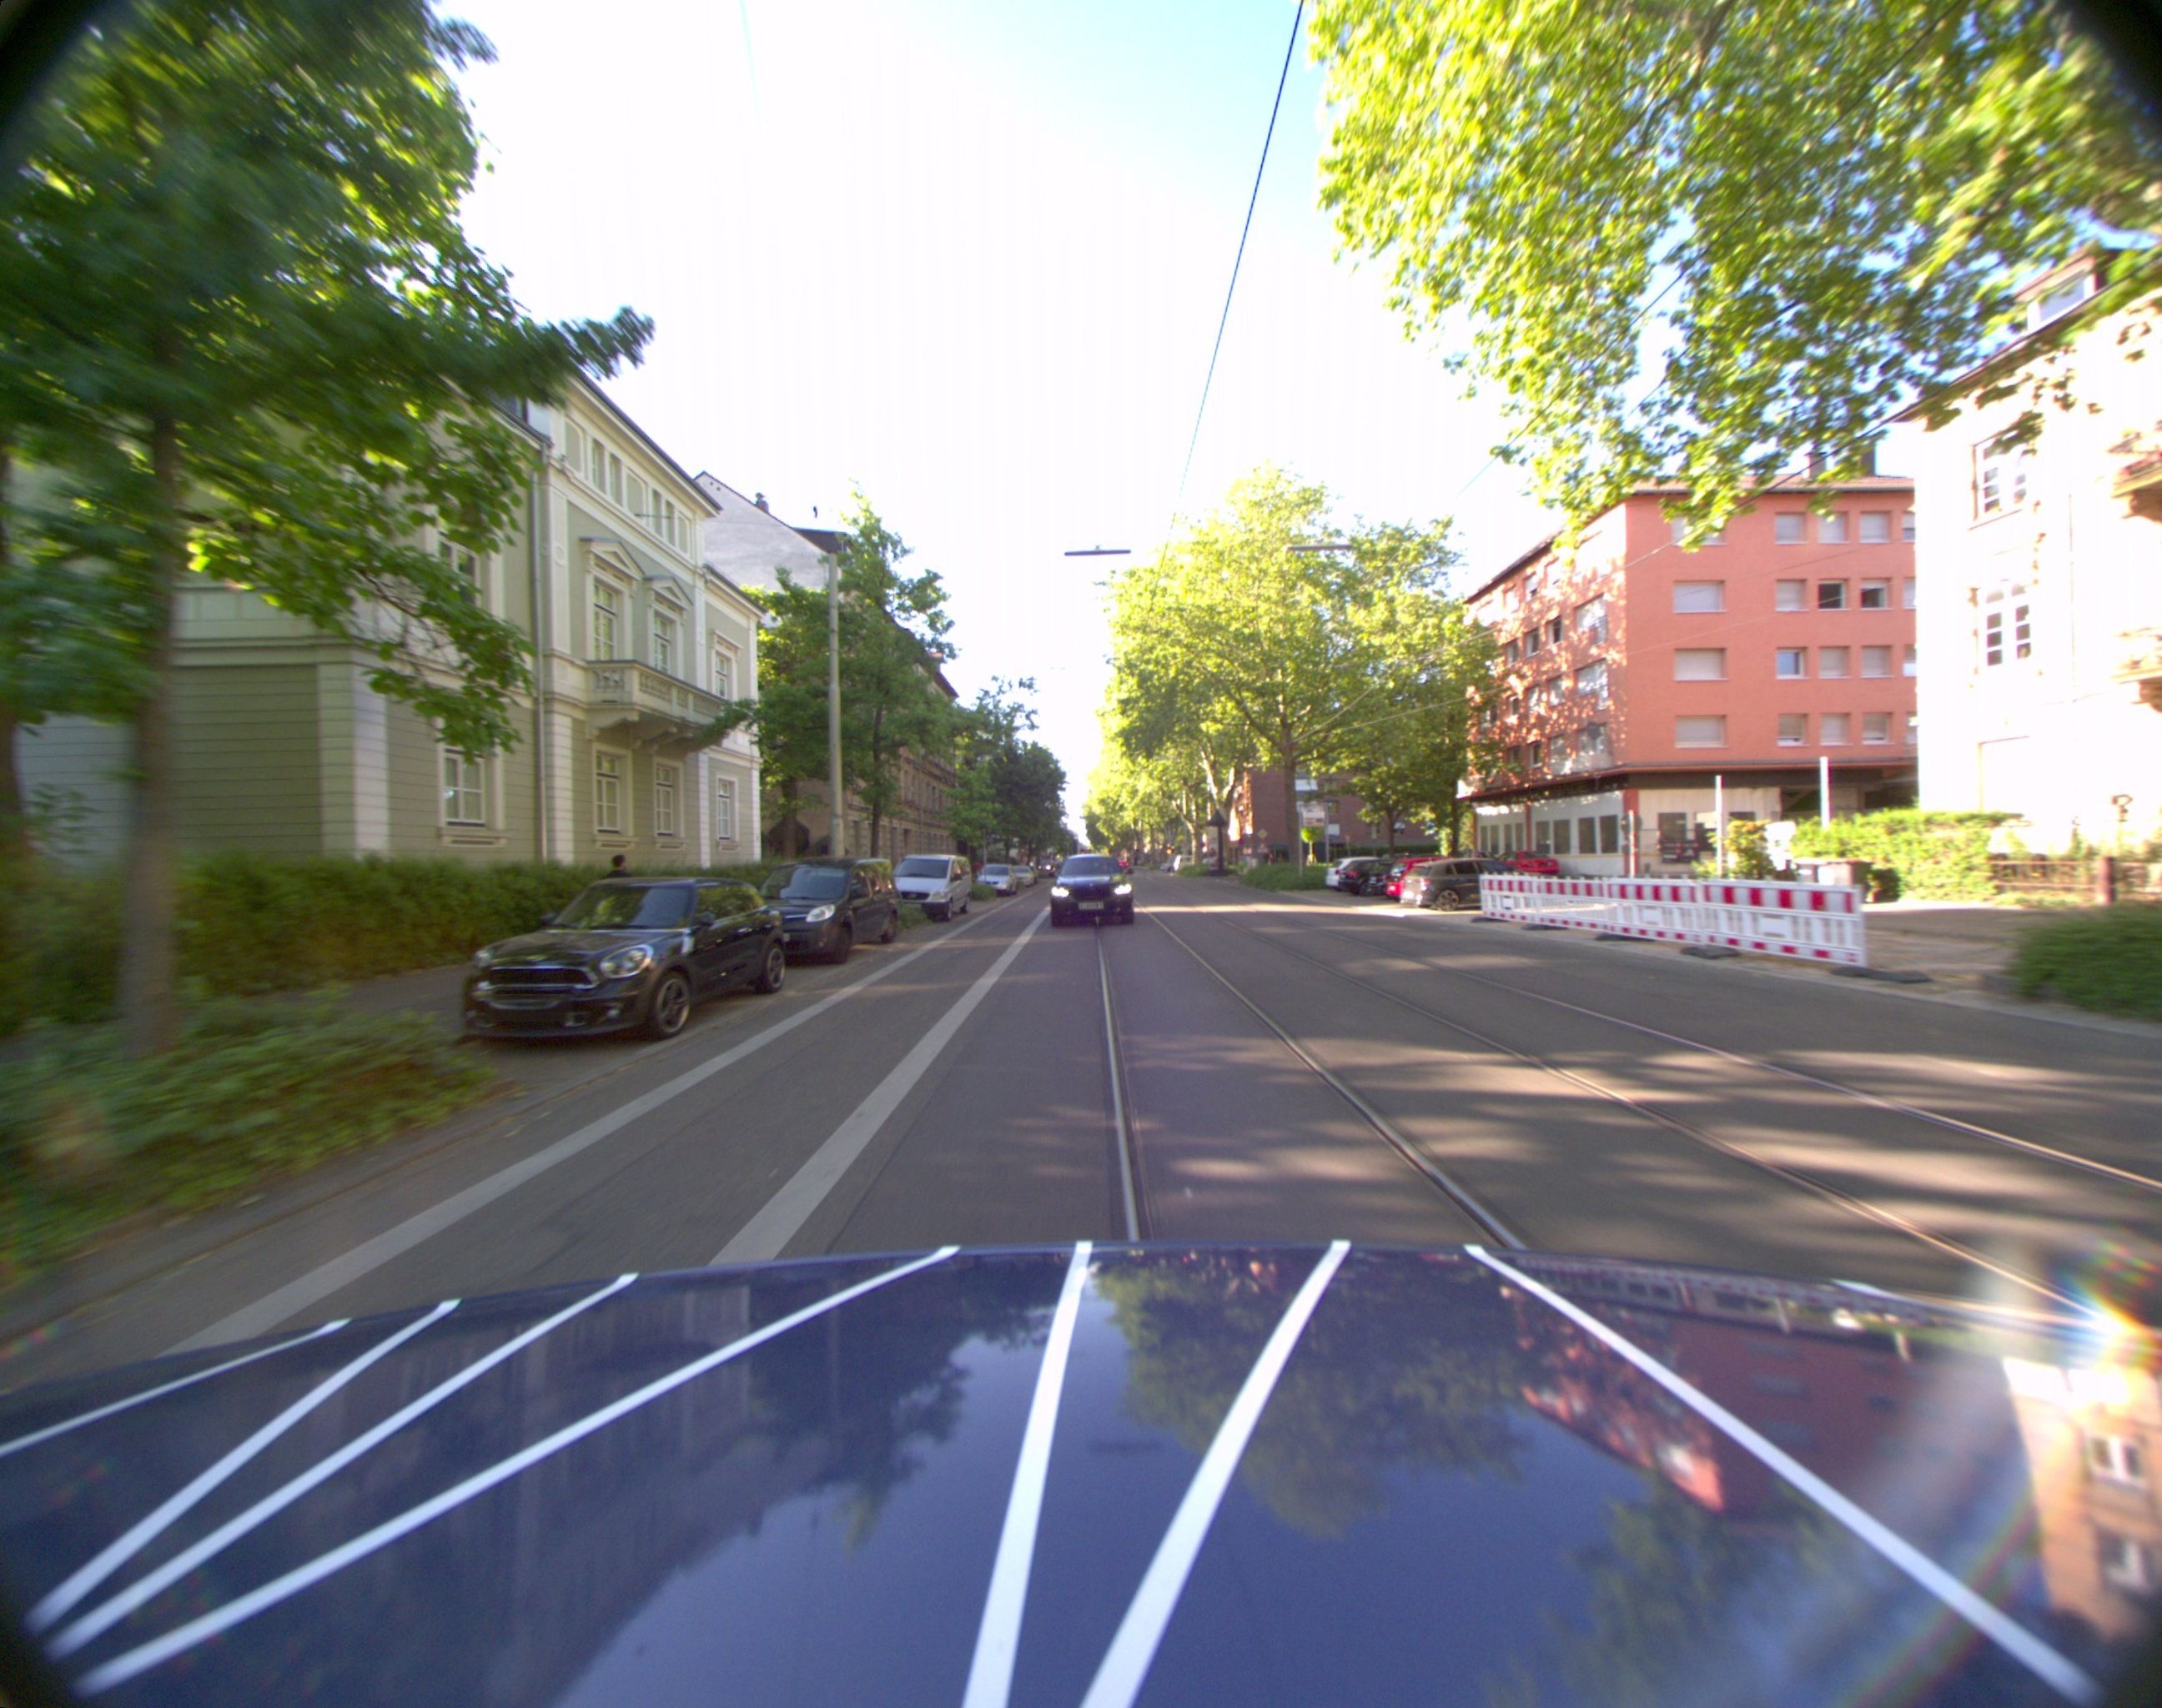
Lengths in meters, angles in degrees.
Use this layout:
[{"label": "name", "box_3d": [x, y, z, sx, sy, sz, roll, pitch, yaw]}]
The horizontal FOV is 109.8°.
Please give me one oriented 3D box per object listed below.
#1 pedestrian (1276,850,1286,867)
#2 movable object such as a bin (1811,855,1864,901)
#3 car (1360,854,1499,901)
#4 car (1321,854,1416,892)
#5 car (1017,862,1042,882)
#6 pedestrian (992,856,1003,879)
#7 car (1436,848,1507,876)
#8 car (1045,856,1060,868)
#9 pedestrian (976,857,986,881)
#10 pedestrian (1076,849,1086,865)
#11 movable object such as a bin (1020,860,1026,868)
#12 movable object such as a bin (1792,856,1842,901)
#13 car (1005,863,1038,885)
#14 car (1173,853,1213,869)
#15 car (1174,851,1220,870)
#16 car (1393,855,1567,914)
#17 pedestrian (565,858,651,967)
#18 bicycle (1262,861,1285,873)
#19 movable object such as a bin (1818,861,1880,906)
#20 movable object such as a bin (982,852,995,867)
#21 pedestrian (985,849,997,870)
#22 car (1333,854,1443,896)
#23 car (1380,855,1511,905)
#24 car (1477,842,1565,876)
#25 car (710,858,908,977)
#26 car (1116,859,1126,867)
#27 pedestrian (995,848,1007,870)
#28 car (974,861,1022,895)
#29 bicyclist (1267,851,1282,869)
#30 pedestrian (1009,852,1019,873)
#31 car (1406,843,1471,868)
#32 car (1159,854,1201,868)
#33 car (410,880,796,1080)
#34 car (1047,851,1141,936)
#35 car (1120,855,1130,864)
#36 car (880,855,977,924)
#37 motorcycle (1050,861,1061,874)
[{"label": "pedestrian", "box_3d": [19.613, 0.458, 74.637, 0.711, 1.663, 0.779, -2, 1, 1]}, {"label": "movable object such as a bin", "box_3d": [18.834, 0.596, 18.920, 0.725, 1.103, 0.560, -2, 1, 2]}, {"label": "car", "box_3d": [12.370, 0.812, 27.159, 4.092, 1.456, 1.821, -2, 0, 3]}, {"label": "car", "box_3d": [12.226, 0.794, 32.454, 3.427, 1.456, 1.697, -2, 0, 3]}, {"label": "car", "box_3d": [-4.006, 1.406, 59.594, 1.677, 1.404, 3.842, 1, 0, -1]}, {"label": "pedestrian", "box_3d": [-6.372, 1.005, 58.222, 0.728, 1.699, 0.856, -2, 1, -3]}, {"label": "car", "box_3d": [21.359, 0.411, 41.709, 1.952, 1.399, 3.892, -2, 0, 1]}, {"label": "car", "box_3d": [-3.882, 1.125, 104.390, 1.766, 1.612, 4.443, 0, 0, 2]}, {"label": "pedestrian", "box_3d": [-7.577, 1.114, 57.391, 0.600, 1.783, 0.728, -2, 1, -2]}, {"label": "pedestrian", "box_3d": [0.020, 0.349, 87.839, 0.870, 1.874, 0.996, -3, 1, -17]}, {"label": "movable object such as a bin", "box_3d": [-7.914, 1.385, 103.671, 0.883, 1.104, 0.697, 0, 1, -1]}, {"label": "movable object such as a bin", "box_3d": [18.858, 0.612, 19.471, 0.726, 1.103, 0.543, -2, 1, 2]}, {"label": "car", "box_3d": [-4.093, 1.353, 53.067, 1.888, 1.360, 4.107, 1, 0, 1]}, {"label": "car", "box_3d": [12.481, 0.753, 85.052, 4.150, 1.637, 1.902, -2, 0, 0]}, {"label": "car", "box_3d": [12.524, 0.711, 81.908, 4.582, 1.823, 1.938, -2, 0, 0]}, {"label": "car", "box_3d": [11.357, 0.846, 21.848, 3.997, 1.456, 1.854, -2, 0, 1]}, {"label": "pedestrian", "box_3d": [-7.618, 0.924, 12.274, 0.832, 1.701, 0.835, 1, -1, 0]}, {"label": "bicycle", "box_3d": [16.769, 1.114, 66.183, 0.971, 0.993, 2.581, -2, 0, -9]}, {"label": "movable object such as a bin", "box_3d": [18.449, 0.692, 18.261, 0.723, 1.016, 0.736, -2, 1, 2]}, {"label": "movable object such as a bin", "box_3d": [-7.606, 0.473, 62.420, 0.640, 1.195, 1.306, 0, 0, 12]}, {"label": "pedestrian", "box_3d": [-7.489, 0.444, 63.534, 0.727, 1.782, 0.969, 0, 0, 12]}, {"label": "car", "box_3d": [11.997, 0.816, 29.833, 3.610, 1.456, 1.687, -2, 0, 3]}, {"label": "car", "box_3d": [11.845, 0.827, 24.885, 3.427, 1.456, 1.760, -2, 0, 3]}, {"label": "car", "box_3d": [21.165, 0.213, 36.722, 1.952, 1.478, 4.000, -2, 0, 1]}, {"label": "car", "box_3d": [-4.733, 0.998, 14.073, 1.890, 1.755, 4.678, -1, 0, 1]}, {"label": "car", "box_3d": [8.059, 1.826, 151.877, 1.820, 1.559, 4.116, 0, 0, 1]}, {"label": "pedestrian", "box_3d": [-6.710, 0.411, 63.639, 0.727, 1.782, 0.854, 0, 0, 12]}, {"label": "car", "box_3d": [-4.183, 1.183, 38.929, 1.888, 1.559, 4.242, 1, 0, 1]}, {"label": "bicyclist", "box_3d": [16.780, 0.541, 66.014, 0.802, 1.498, 1.116, -2, 1, -9]}, {"label": "pedestrian", "box_3d": [-5.920, 0.769, 67.112, 0.727, 1.783, 0.600, -2, 1, 4]}, {"label": "car", "box_3d": [23.005, 0.103, 49.014, 1.818, 1.484, 3.997, -2, 0, -9]}, {"label": "car", "box_3d": [12.074, 0.883, 92.990, 4.776, 1.452, 1.955, -2, 0, 0]}, {"label": "car", "box_3d": [-4.747, 1.126, 8.362, 1.716, 1.505, 4.036, 1, 0, 0]}, {"label": "car", "box_3d": [0.306, 0.839, 18.842, 1.937, 1.718, 5.073, -3, 0, 0]}, {"label": "car", "box_3d": [7.821, 0.932, 134.302, 1.665, 1.435, 3.473, -2, 0, 2]}, {"label": "car", "box_3d": [-4.487, 0.970, 23.137, 1.888, 1.840, 4.967, 1, 0, 1]}, {"label": "motorcycle", "box_3d": [-2.883, 1.538, 85.841, 1.054, 1.446, 2.208, -2, 0, 1]}]
